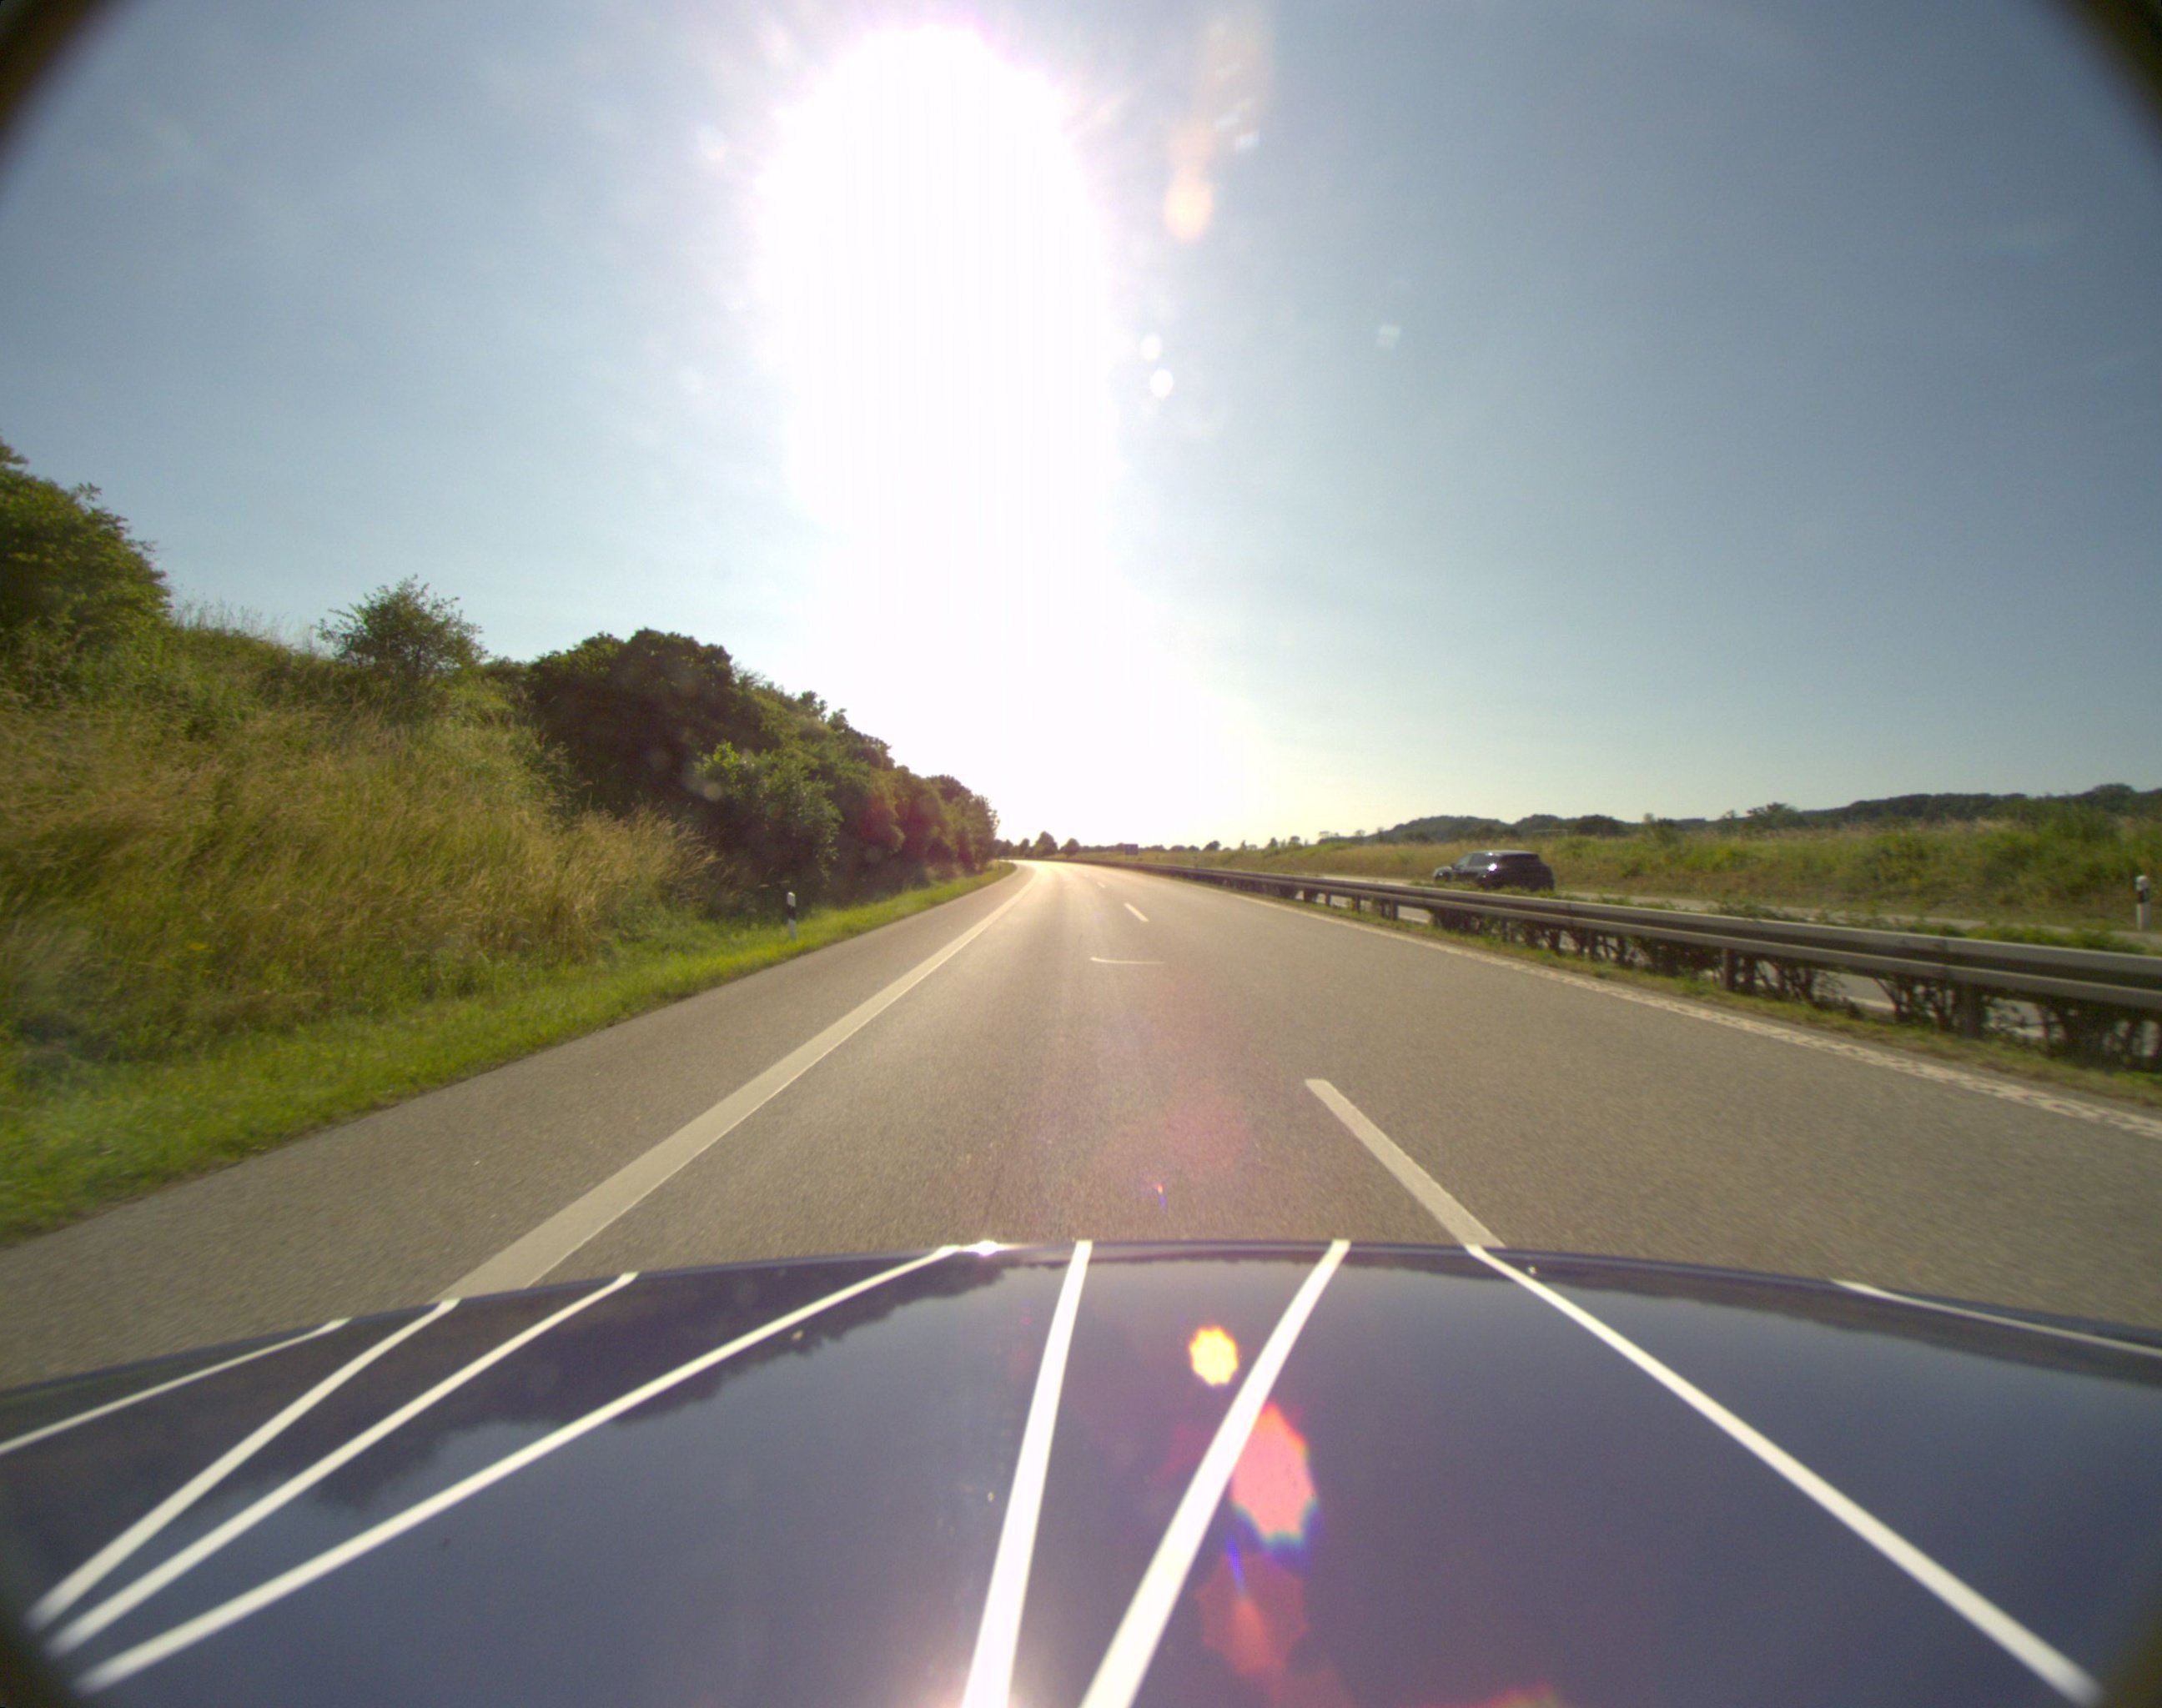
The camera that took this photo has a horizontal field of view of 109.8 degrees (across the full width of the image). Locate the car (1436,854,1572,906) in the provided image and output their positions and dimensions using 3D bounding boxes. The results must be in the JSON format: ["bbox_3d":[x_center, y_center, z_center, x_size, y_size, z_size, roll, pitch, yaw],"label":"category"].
[{"bbox_3d":[13.670,0.794,24.920,1.836,1.543,4.465,-1,0,-2],"label":"car"}]
